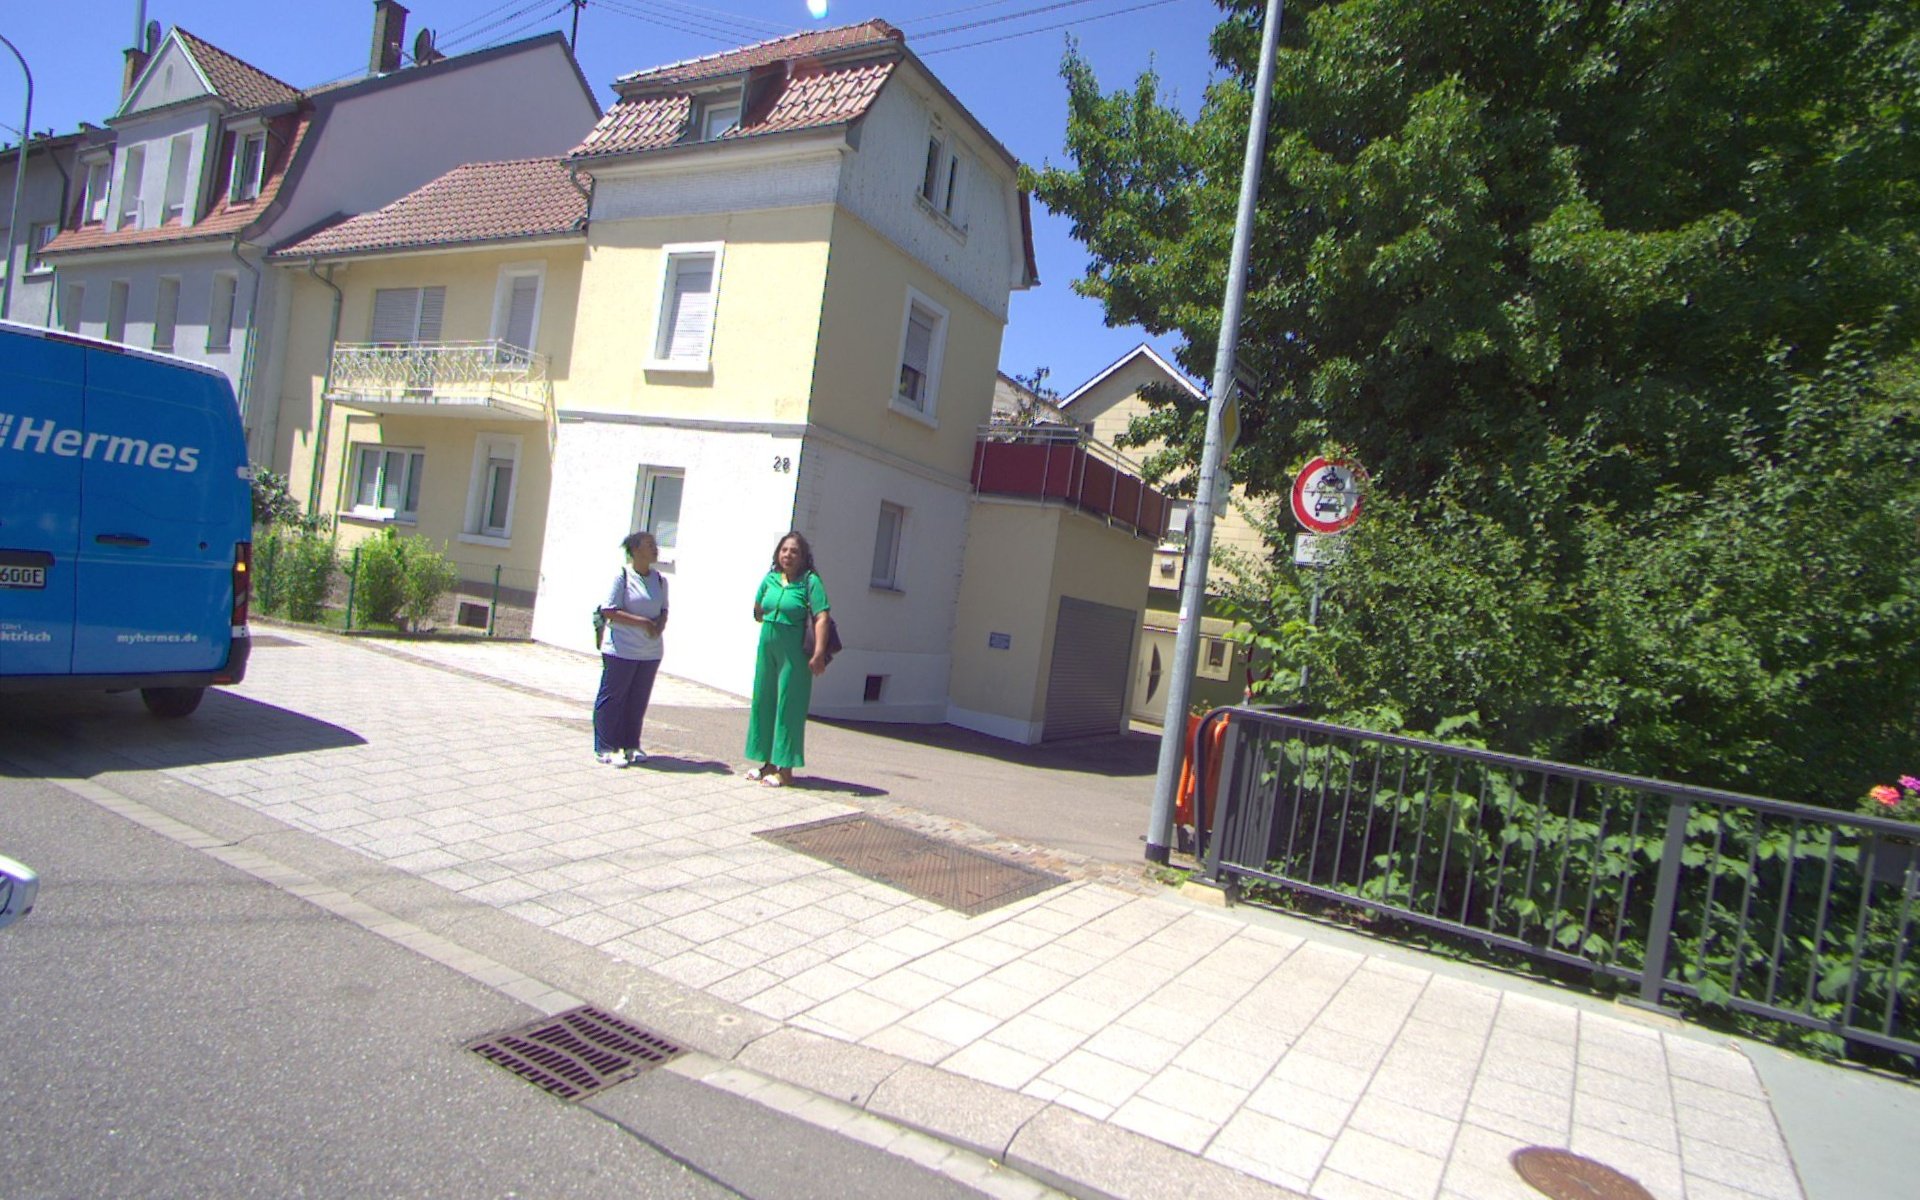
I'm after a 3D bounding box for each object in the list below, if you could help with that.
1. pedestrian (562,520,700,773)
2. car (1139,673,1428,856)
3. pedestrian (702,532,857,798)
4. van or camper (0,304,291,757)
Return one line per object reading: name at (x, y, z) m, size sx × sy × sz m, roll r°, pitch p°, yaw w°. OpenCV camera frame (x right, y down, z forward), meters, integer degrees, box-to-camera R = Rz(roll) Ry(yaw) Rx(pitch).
pedestrian at (-2.343, 0.315, 7.176) m, size 0.512 × 1.678 × 0.636 m, roll 9°, pitch 5°, yaw 29°
car at (3.917, 1.907, 11.632) m, size 1.620 × 1.482 × 4.396 m, roll 8°, pitch -4°, yaw 38°
pedestrian at (-1.266, 0.432, 7.114) m, size 0.789 × 1.730 × 0.520 m, roll 7°, pitch 4°, yaw 12°
van or camper at (-7.658, -0.650, 7.490) m, size 6.076 × 2.500 × 2.109 m, roll 7°, pitch 2°, yaw 33°
